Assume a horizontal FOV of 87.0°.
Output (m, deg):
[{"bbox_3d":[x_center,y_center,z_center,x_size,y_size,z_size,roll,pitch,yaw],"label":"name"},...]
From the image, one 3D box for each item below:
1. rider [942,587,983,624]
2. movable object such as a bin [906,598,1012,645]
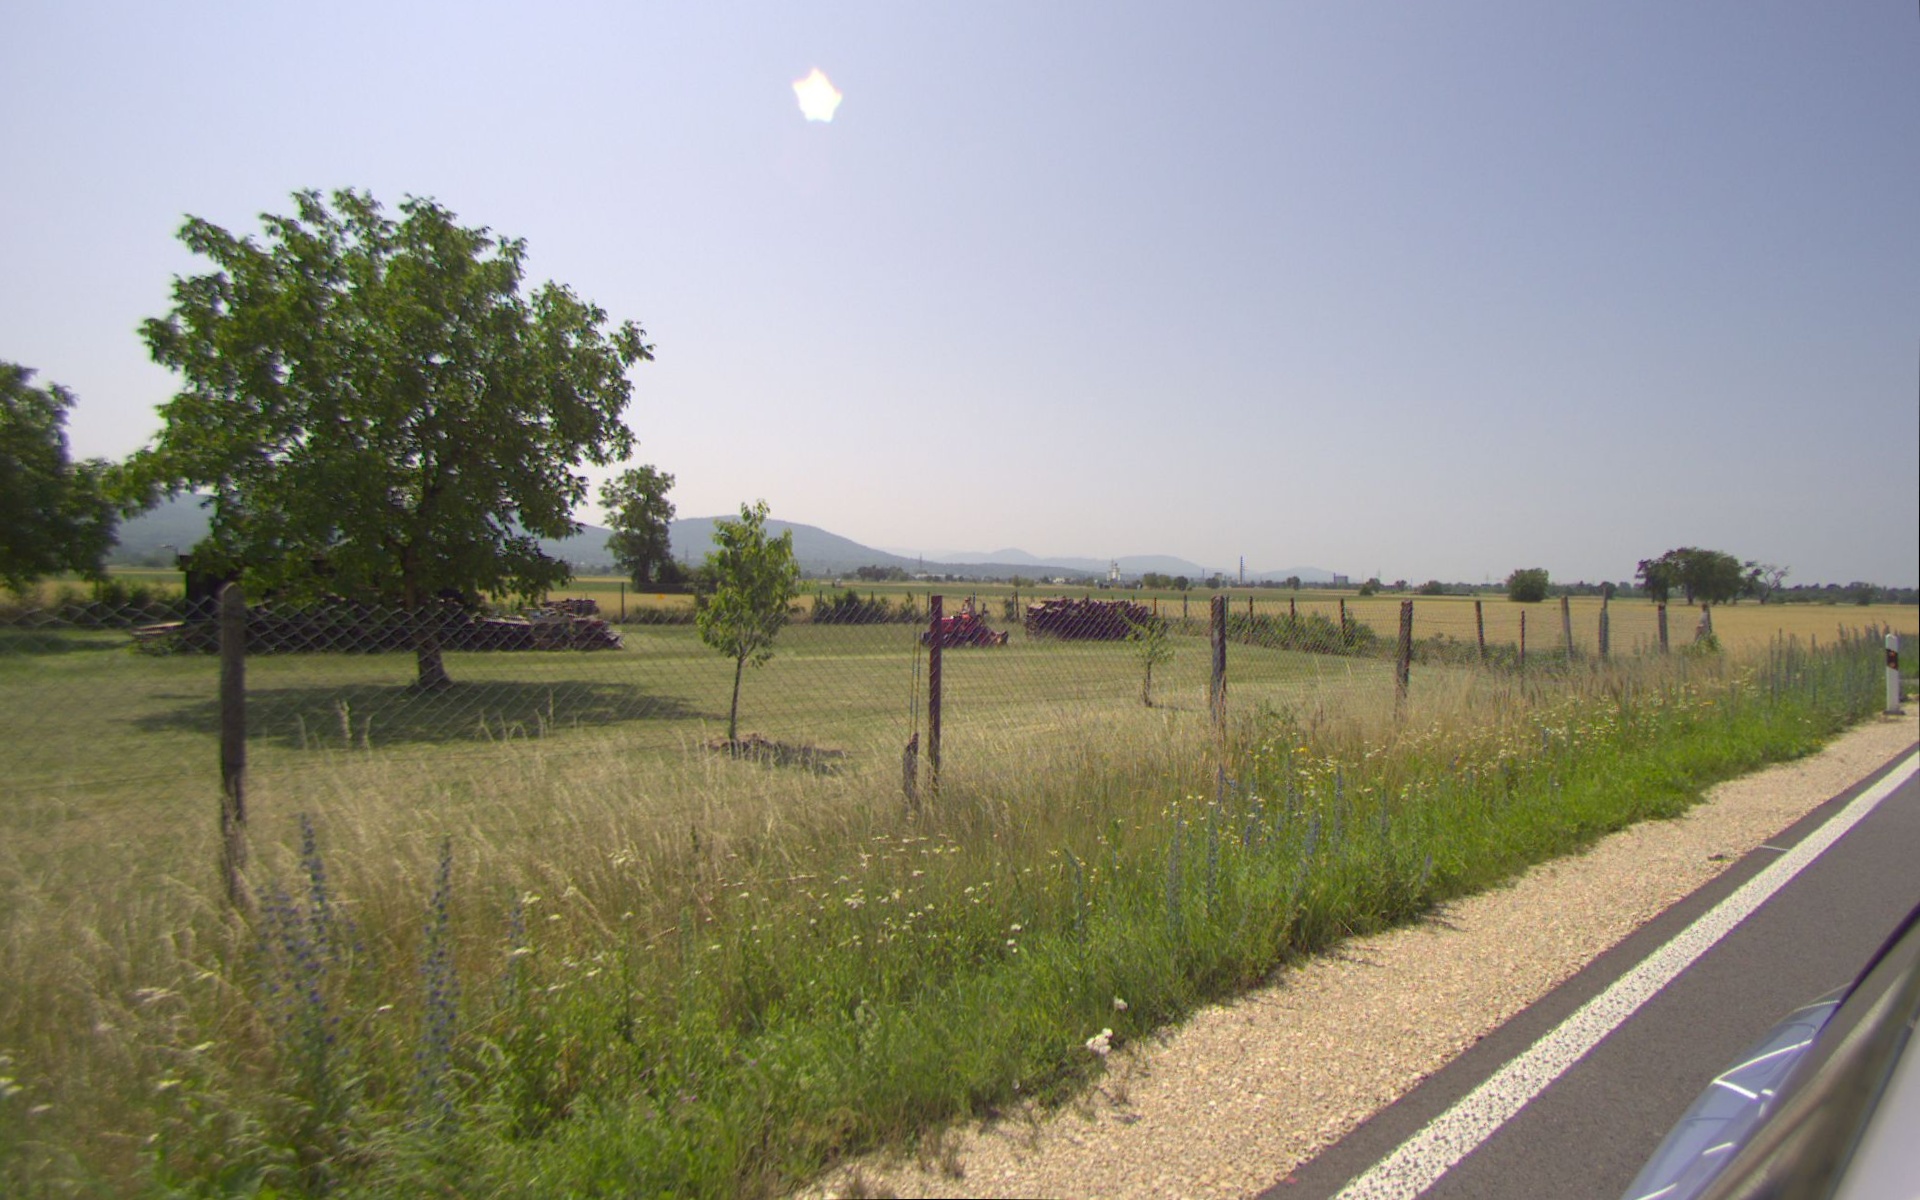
[{"bbox_3d":[0.090,0.181,34.588,1.024,1.233,0.970,1,0,44],"label":"rider"},{"bbox_3d":[-0.008,0.694,34.664,1.571,1.515,3.600,1,1,45],"label":"movable object such as a bin"}]
